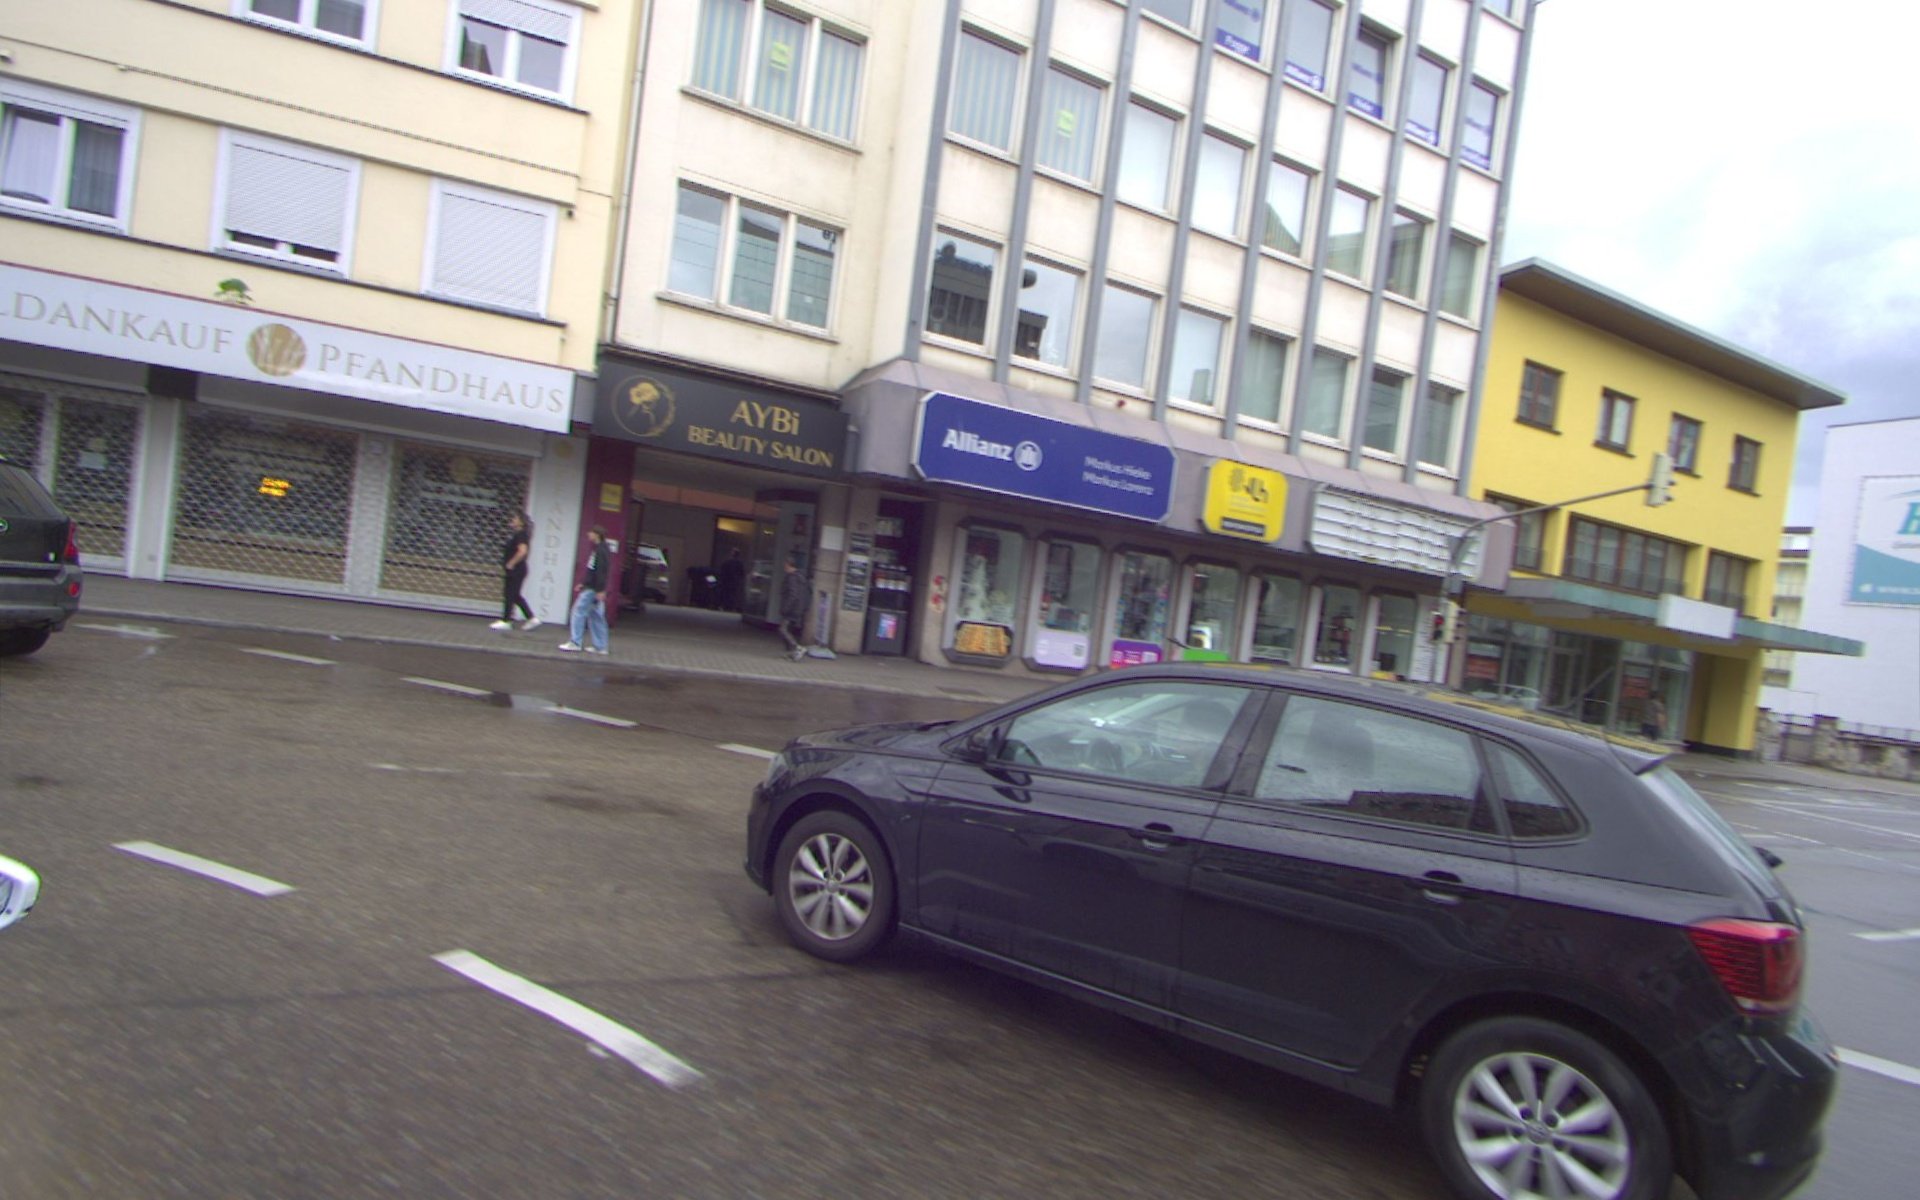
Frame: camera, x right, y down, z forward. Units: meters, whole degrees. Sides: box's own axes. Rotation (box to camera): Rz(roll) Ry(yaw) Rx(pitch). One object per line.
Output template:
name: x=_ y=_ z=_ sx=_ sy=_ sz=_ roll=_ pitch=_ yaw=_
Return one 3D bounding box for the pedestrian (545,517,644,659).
pedestrian: x=-5.202 y=-0.170 z=14.287 sx=1.022 sy=1.824 sz=0.822 roll=6 pitch=5 yaw=-30

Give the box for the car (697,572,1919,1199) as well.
car: x=1.007 y=0.889 z=4.058 sx=3.935 sy=1.496 sz=1.689 roll=8 pitch=1 yaw=33

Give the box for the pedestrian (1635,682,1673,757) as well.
pedestrian: x=18.307 y=3.169 z=26.555 sx=0.668 sy=1.845 sz=0.891 roll=5 pitch=-5 yaw=34

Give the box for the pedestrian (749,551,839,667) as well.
pedestrian: x=-2.730 y=0.147 z=16.497 sx=1.022 sy=1.713 sz=0.822 roll=6 pitch=5 yaw=-30

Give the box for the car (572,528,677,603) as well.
car: x=-9.082 y=-0.894 z=27.045 sx=1.783 sy=1.690 sz=3.971 roll=6 pitch=-1 yaw=-30

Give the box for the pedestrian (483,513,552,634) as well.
pedestrian: x=-6.691 y=-0.400 z=15.202 sx=0.747 sy=1.713 sz=0.561 roll=6 pitch=5 yaw=-29

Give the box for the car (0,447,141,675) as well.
car: x=-9.375 y=-0.556 z=7.966 sx=4.419 sy=1.715 sz=1.905 roll=7 pitch=0 yaw=9

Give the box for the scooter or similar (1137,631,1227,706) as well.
scooter or similar: x=4.456 y=1.381 z=20.192 sx=1.498 sy=1.226 sz=0.617 roll=9 pitch=3 yaw=-23
